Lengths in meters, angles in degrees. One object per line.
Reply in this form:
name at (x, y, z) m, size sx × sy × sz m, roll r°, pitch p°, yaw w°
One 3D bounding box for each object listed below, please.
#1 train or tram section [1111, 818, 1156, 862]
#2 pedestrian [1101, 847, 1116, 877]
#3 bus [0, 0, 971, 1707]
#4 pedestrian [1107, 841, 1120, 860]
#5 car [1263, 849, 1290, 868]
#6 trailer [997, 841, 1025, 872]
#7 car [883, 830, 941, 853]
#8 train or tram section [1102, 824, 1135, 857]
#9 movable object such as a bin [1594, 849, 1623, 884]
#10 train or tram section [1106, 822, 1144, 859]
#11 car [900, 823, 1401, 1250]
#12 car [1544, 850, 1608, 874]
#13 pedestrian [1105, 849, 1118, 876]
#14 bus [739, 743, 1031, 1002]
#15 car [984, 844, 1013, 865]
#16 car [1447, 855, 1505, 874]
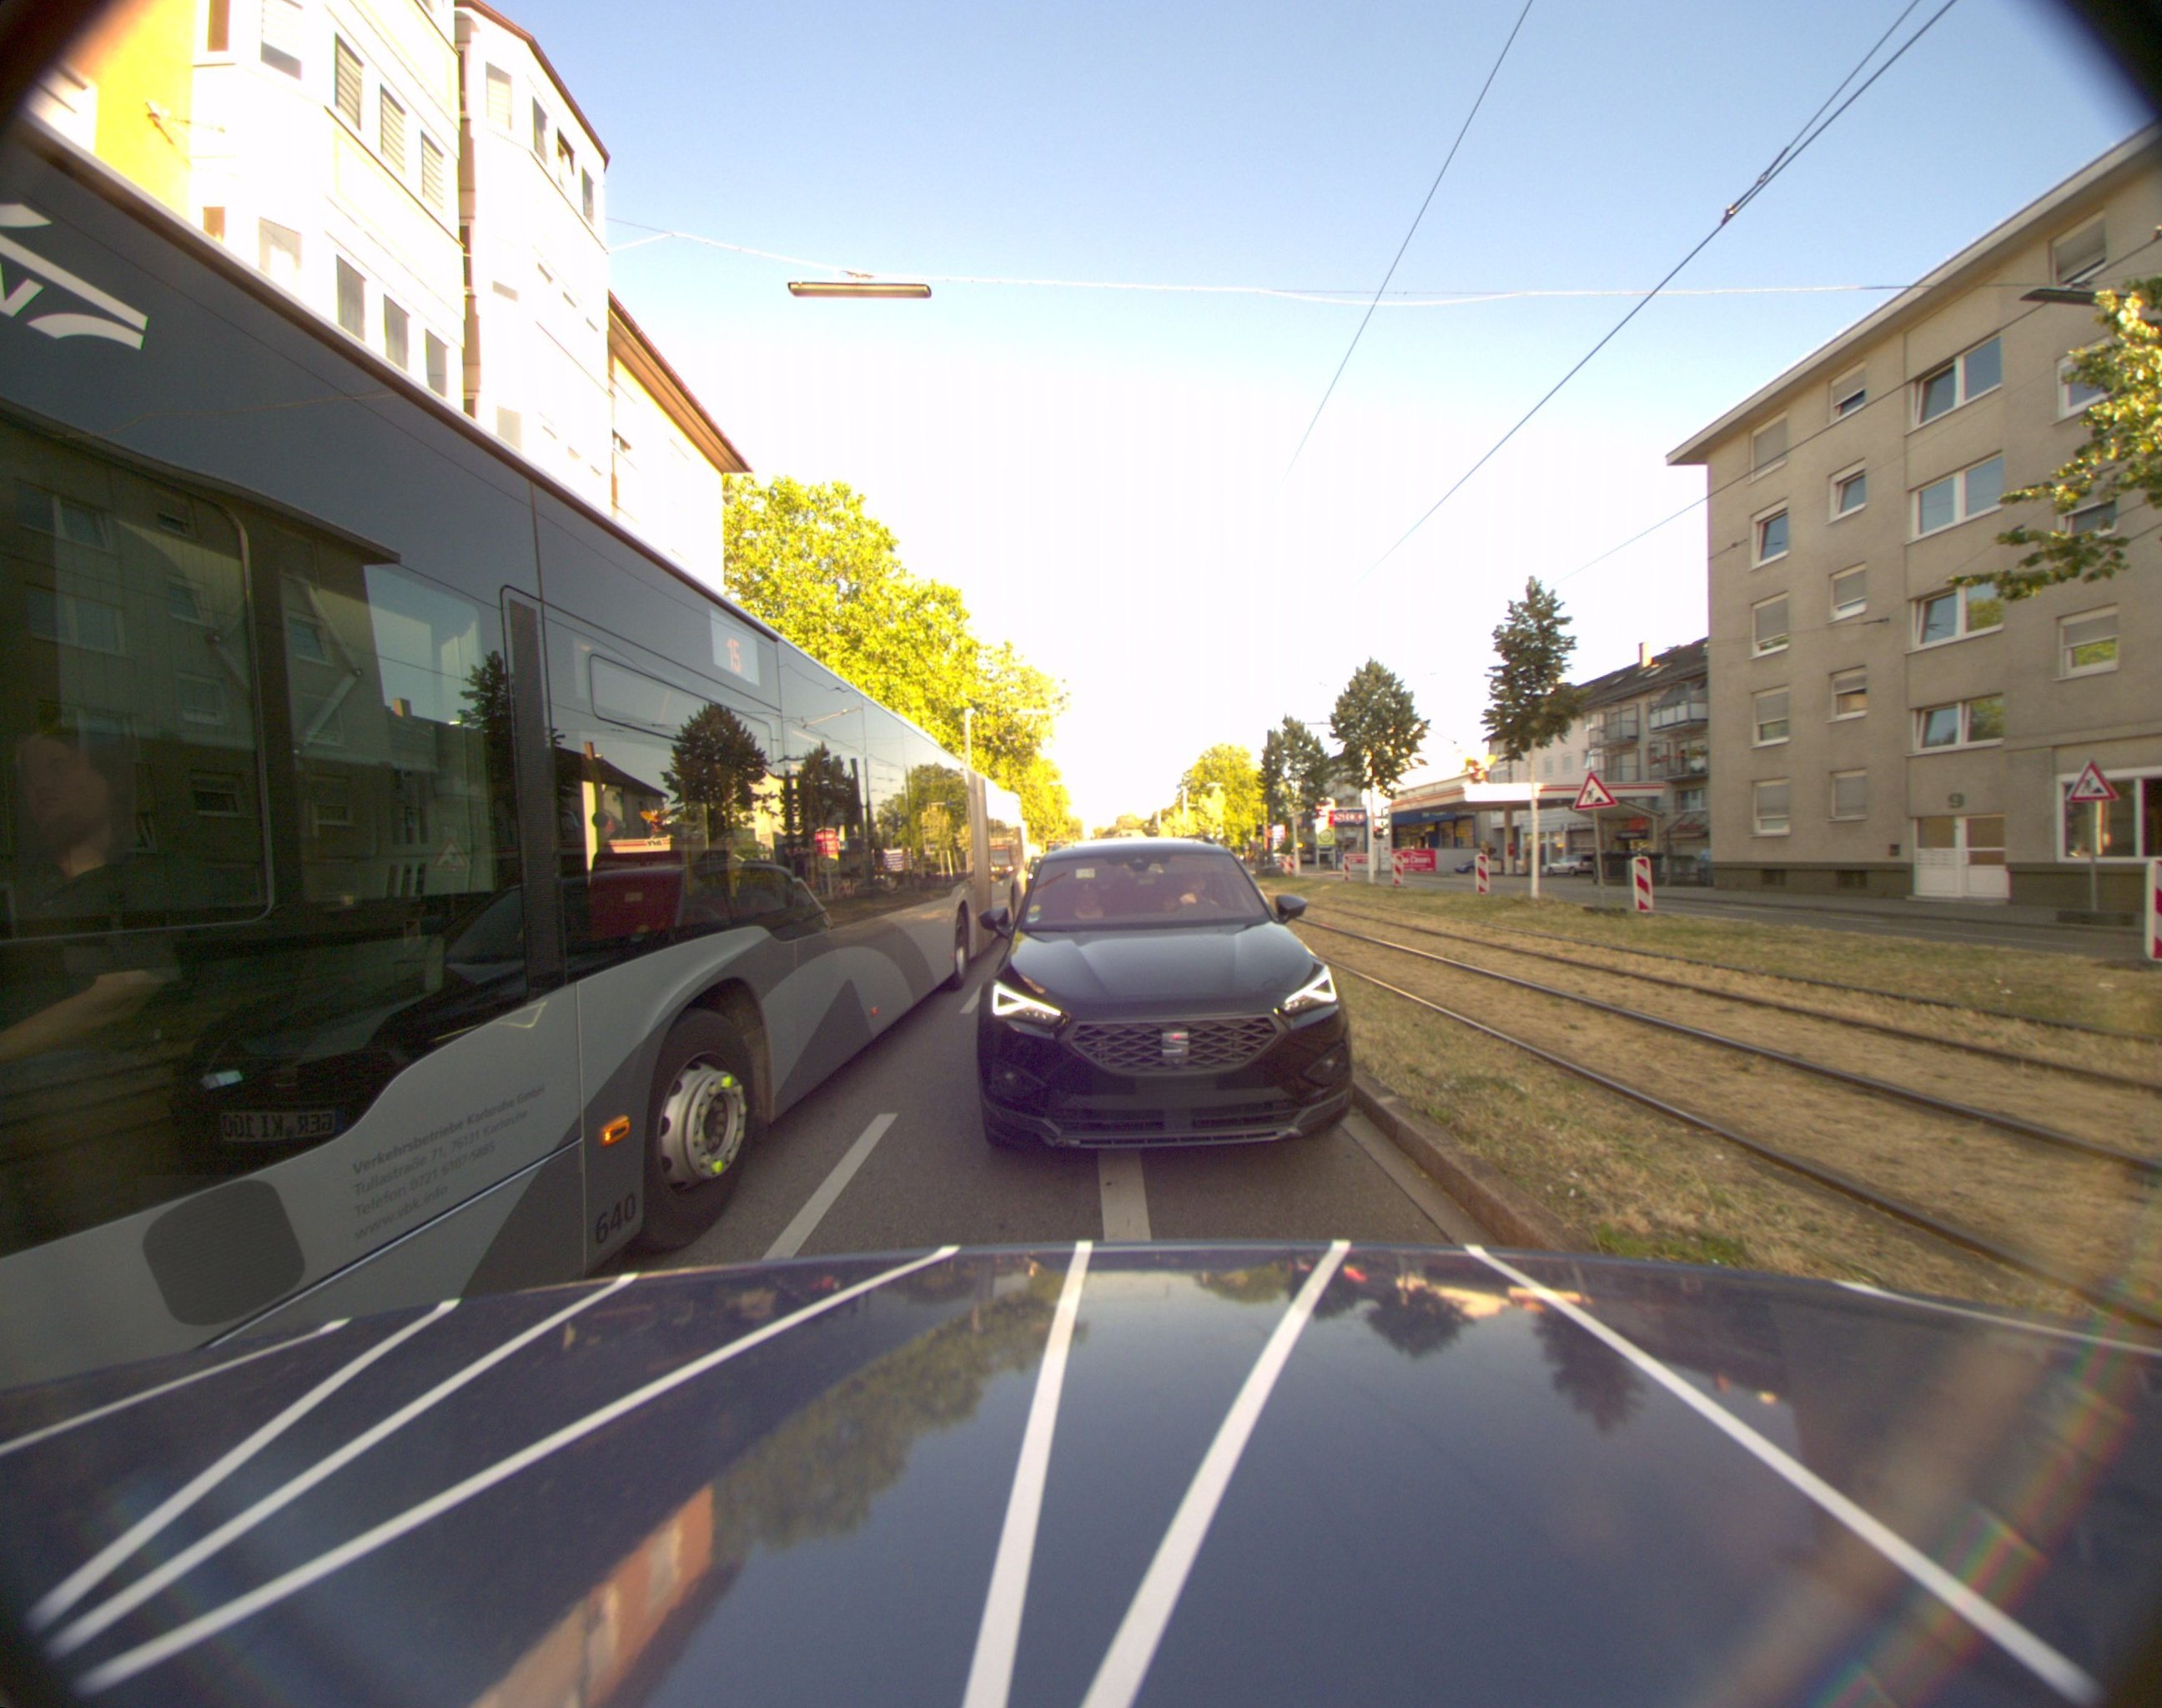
train or tram section at (4.360, -1.181, 65.485) m, size 3.043 × 3.497 × 10.094 m, roll 0°, pitch 1°, yaw -1°
pedestrian at (1.733, 0.502, 47.858) m, size 0.860 × 1.921 × 0.755 m, roll -1°, pitch 1°, yaw -2°
bus at (-2.823, 0.242, 4.685) m, size 2.745 × 3.038 × 9.131 m, roll -2°, pitch 0°, yaw 1°
pedestrian at (2.643, -0.276, 61.578) m, size 0.918 × 1.541 × 0.788 m, roll -2°, pitch 1°, yaw -8°
car at (16.314, 0.377, 63.508) m, size 1.815 × 1.503 × 3.832 m, roll 0°, pitch 1°, yaw 10°
trailer at (-6.110, 0.183, 66.579) m, size 1.890 × 2.573 × 4.650 m, roll -1°, pitch 0°, yaw 1°
car at (-13.424, -0.982, 60.415) m, size 4.122 × 1.541 × 1.803 m, roll -3°, pitch 0°, yaw 2°
train or tram section at (4.121, -1.445, 85.709) m, size 3.043 × 3.497 × 10.094 m, roll 0°, pitch 1°, yaw -1°
movable object such as a bin at (21.317, 0.502, 30.729) m, size 0.665 × 1.392 × 0.749 m, roll 0°, pitch 1°, yaw -1°
train or tram section at (4.243, -1.315, 75.594) m, size 3.043 × 3.497 × 10.094 m, roll 0°, pitch 1°, yaw -1°
car at (0.304, 0.726, 5.060) m, size 1.910 × 1.606 × 4.085 m, roll -3°, pitch 0°, yaw 1°
car at (33.655, 0.518, 51.747) m, size 1.816 × 1.514 × 3.828 m, roll -3°, pitch 1°, yaw 0°
pedestrian at (1.985, 0.542, 48.975) m, size 0.755 × 1.737 × 0.860 m, roll -1°, pitch 1°, yaw -3°
bus at (-2.668, 0.219, 13.646) m, size 2.745 × 3.038 × 8.853 m, roll -2°, pitch 0°, yaw 1°
car at (-6.452, 0.076, 59.922) m, size 1.800 × 1.621 × 4.000 m, roll 1°, pitch -1°, yaw 0°
car at (32.518, 0.869, 62.616) m, size 3.803 × 1.514 × 1.818 m, roll -1°, pitch 0°, yaw 3°
